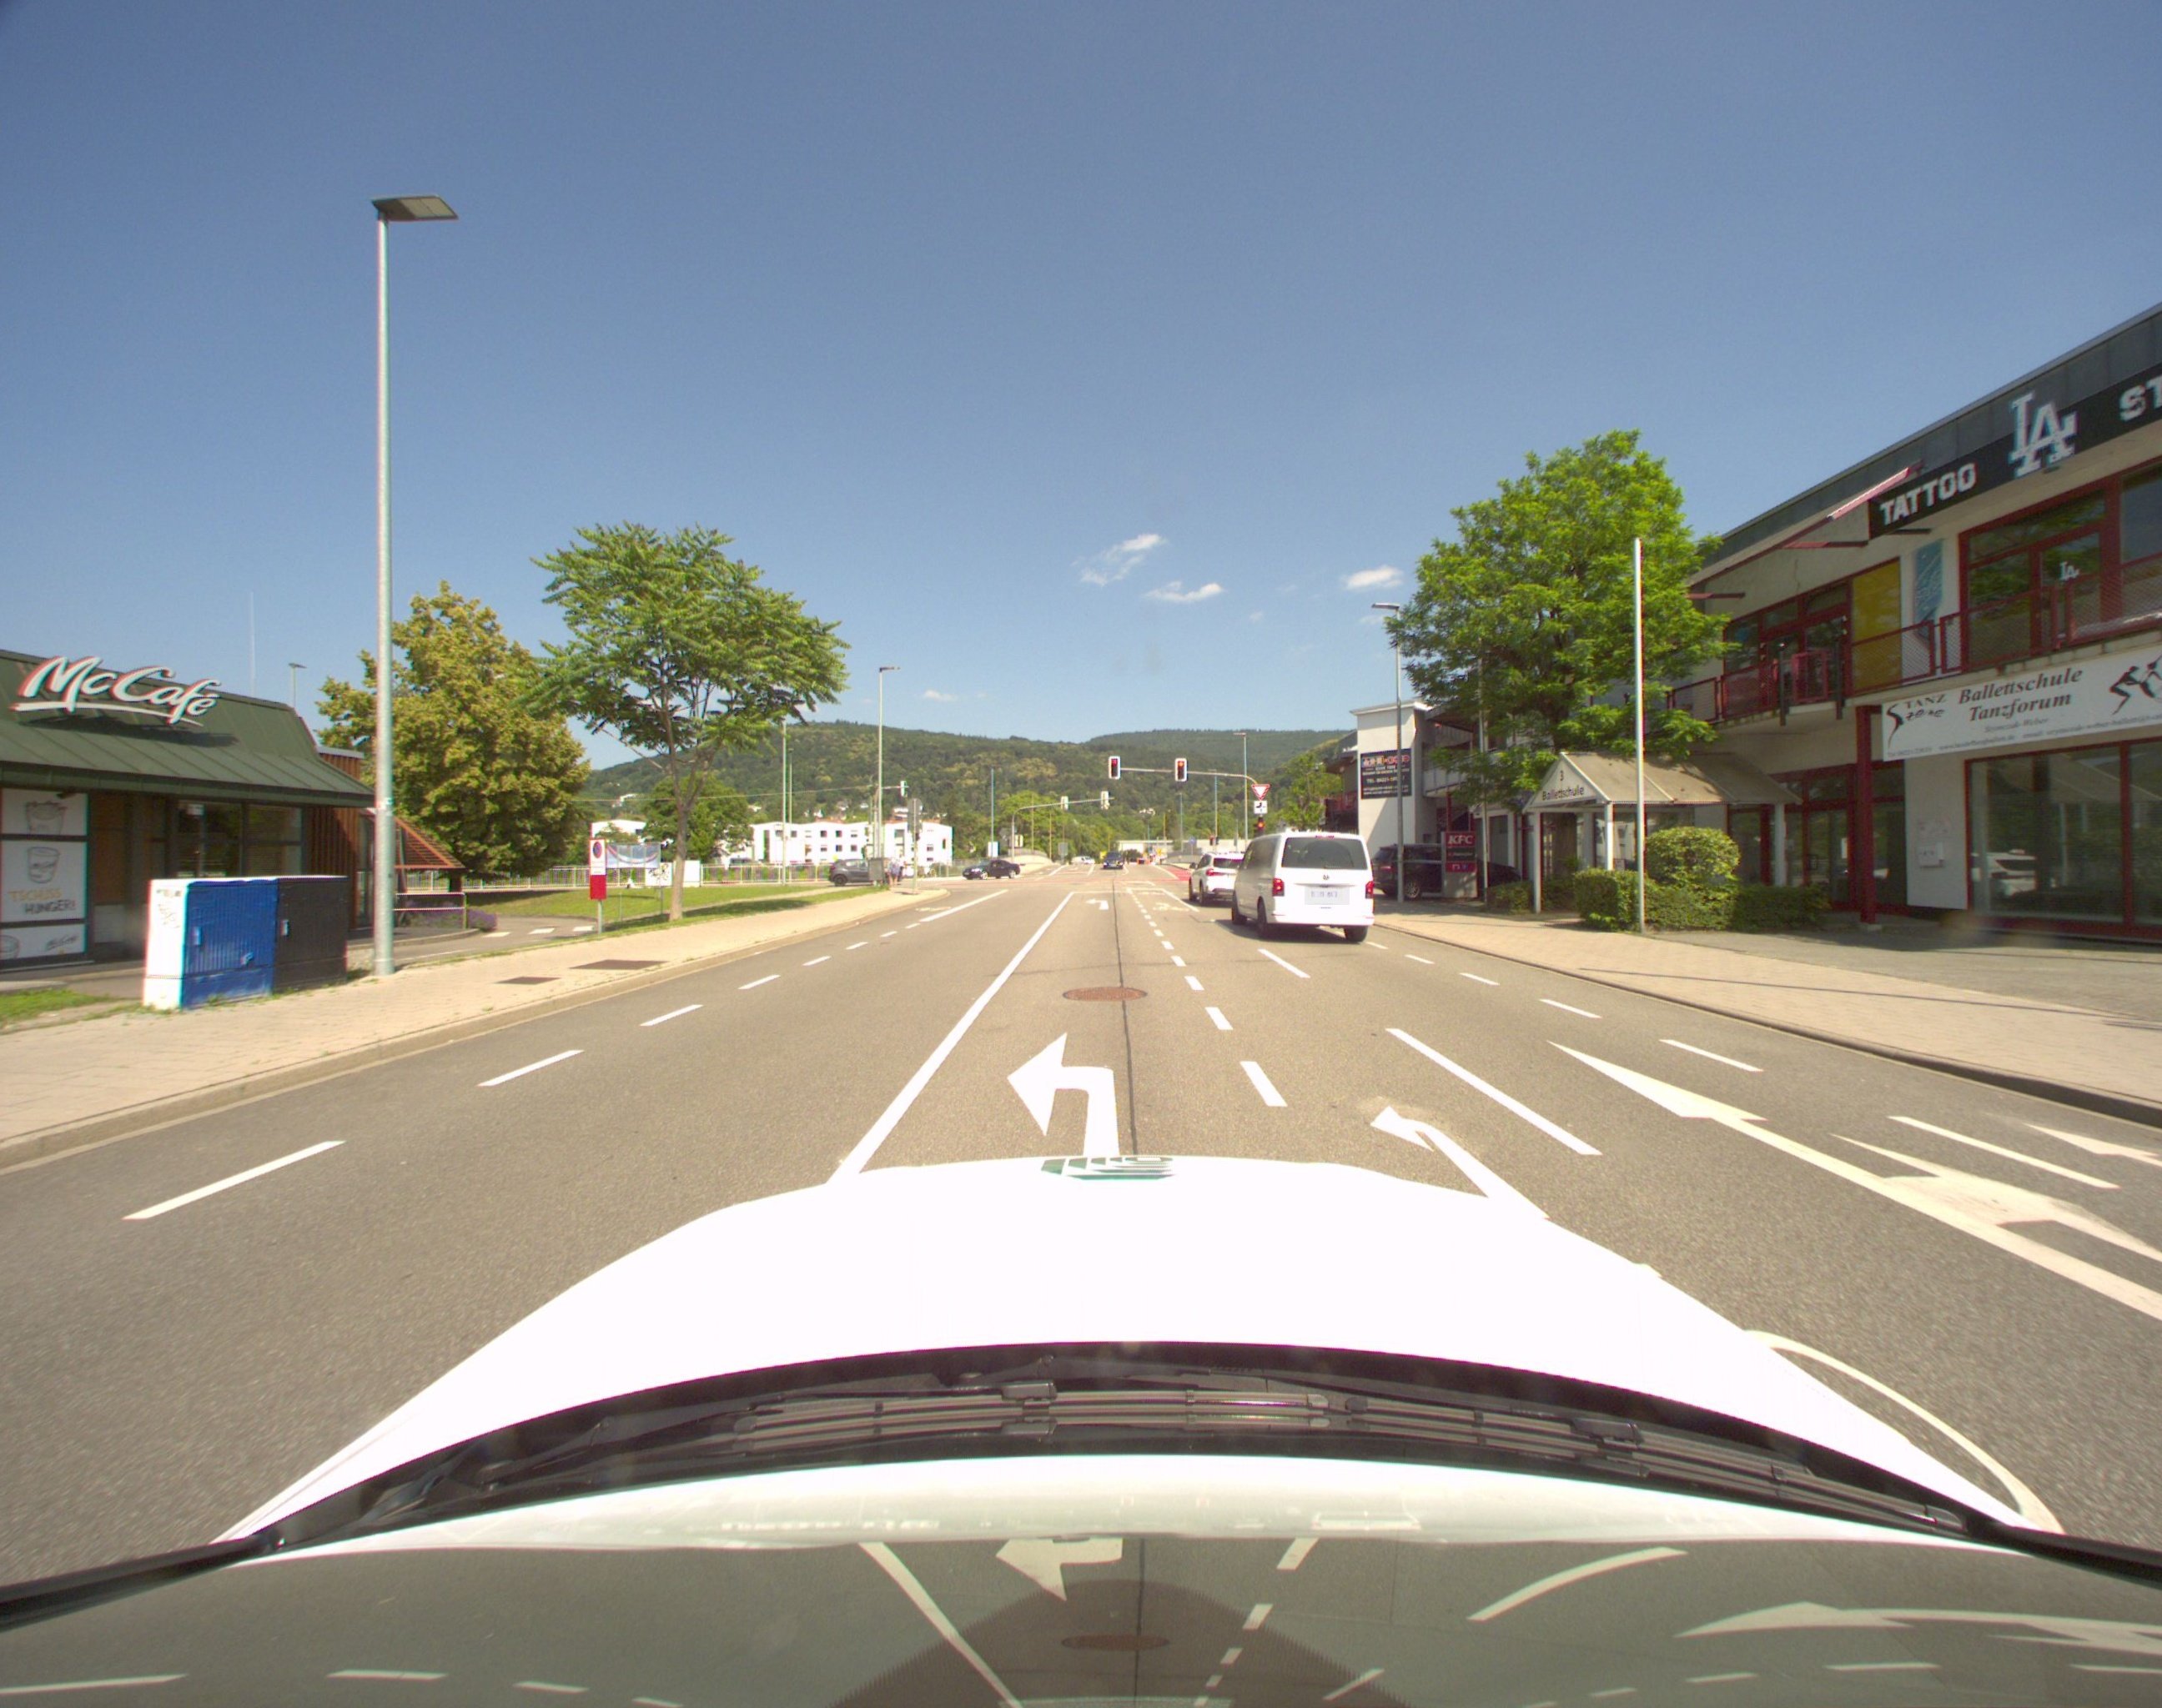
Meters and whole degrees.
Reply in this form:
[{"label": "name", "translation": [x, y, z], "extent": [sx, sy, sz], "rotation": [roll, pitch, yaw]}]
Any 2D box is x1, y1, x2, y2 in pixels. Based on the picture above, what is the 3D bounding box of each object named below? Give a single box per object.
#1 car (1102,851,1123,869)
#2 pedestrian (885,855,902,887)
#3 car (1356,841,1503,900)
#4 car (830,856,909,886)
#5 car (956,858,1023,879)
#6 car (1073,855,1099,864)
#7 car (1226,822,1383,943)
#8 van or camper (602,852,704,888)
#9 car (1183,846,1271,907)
[{"label": "car", "translation": [2.915, 0.523, 75.973], "extent": [1.842, 1.588, 4.002], "rotation": [-1, 0, 2]}, {"label": "pedestrian", "translation": [-9.433, 0.855, 40.982], "extent": [0.696, 1.573, 0.676], "rotation": [-1, 0, -1]}, {"label": "car", "translation": [11.140, 0.518, 26.280], "extent": [3.965, 1.775, 2.004], "rotation": [-1, 0, 7]}, {"label": "car", "translation": [-12.166, 0.942, 47.005], "extent": [4.321, 1.592, 1.991], "rotation": [-1, 0, -14]}, {"label": "car", "translation": [-6.342, 1.005, 56.898], "extent": [4.351, 1.370, 1.975], "rotation": [-1, 0, -44]}, {"label": "car", "translation": [0.806, 0.933, 139.510], "extent": [4.406, 1.588, 1.866], "rotation": [-1, 0, 45]}, {"label": "car", "translation": [4.232, 0.470, 16.233], "extent": [1.928, 2.059, 4.545], "rotation": [1, 0, 1]}, {"label": "van or camper", "translation": [-20.626, 0.772, 39.445], "extent": [3.995, 1.574, 1.989], "rotation": [2, 0, -17]}, {"label": "car", "translation": [4.448, 0.637, 25.435], "extent": [1.928, 1.686, 4.544], "rotation": [2, 0, 0]}]
